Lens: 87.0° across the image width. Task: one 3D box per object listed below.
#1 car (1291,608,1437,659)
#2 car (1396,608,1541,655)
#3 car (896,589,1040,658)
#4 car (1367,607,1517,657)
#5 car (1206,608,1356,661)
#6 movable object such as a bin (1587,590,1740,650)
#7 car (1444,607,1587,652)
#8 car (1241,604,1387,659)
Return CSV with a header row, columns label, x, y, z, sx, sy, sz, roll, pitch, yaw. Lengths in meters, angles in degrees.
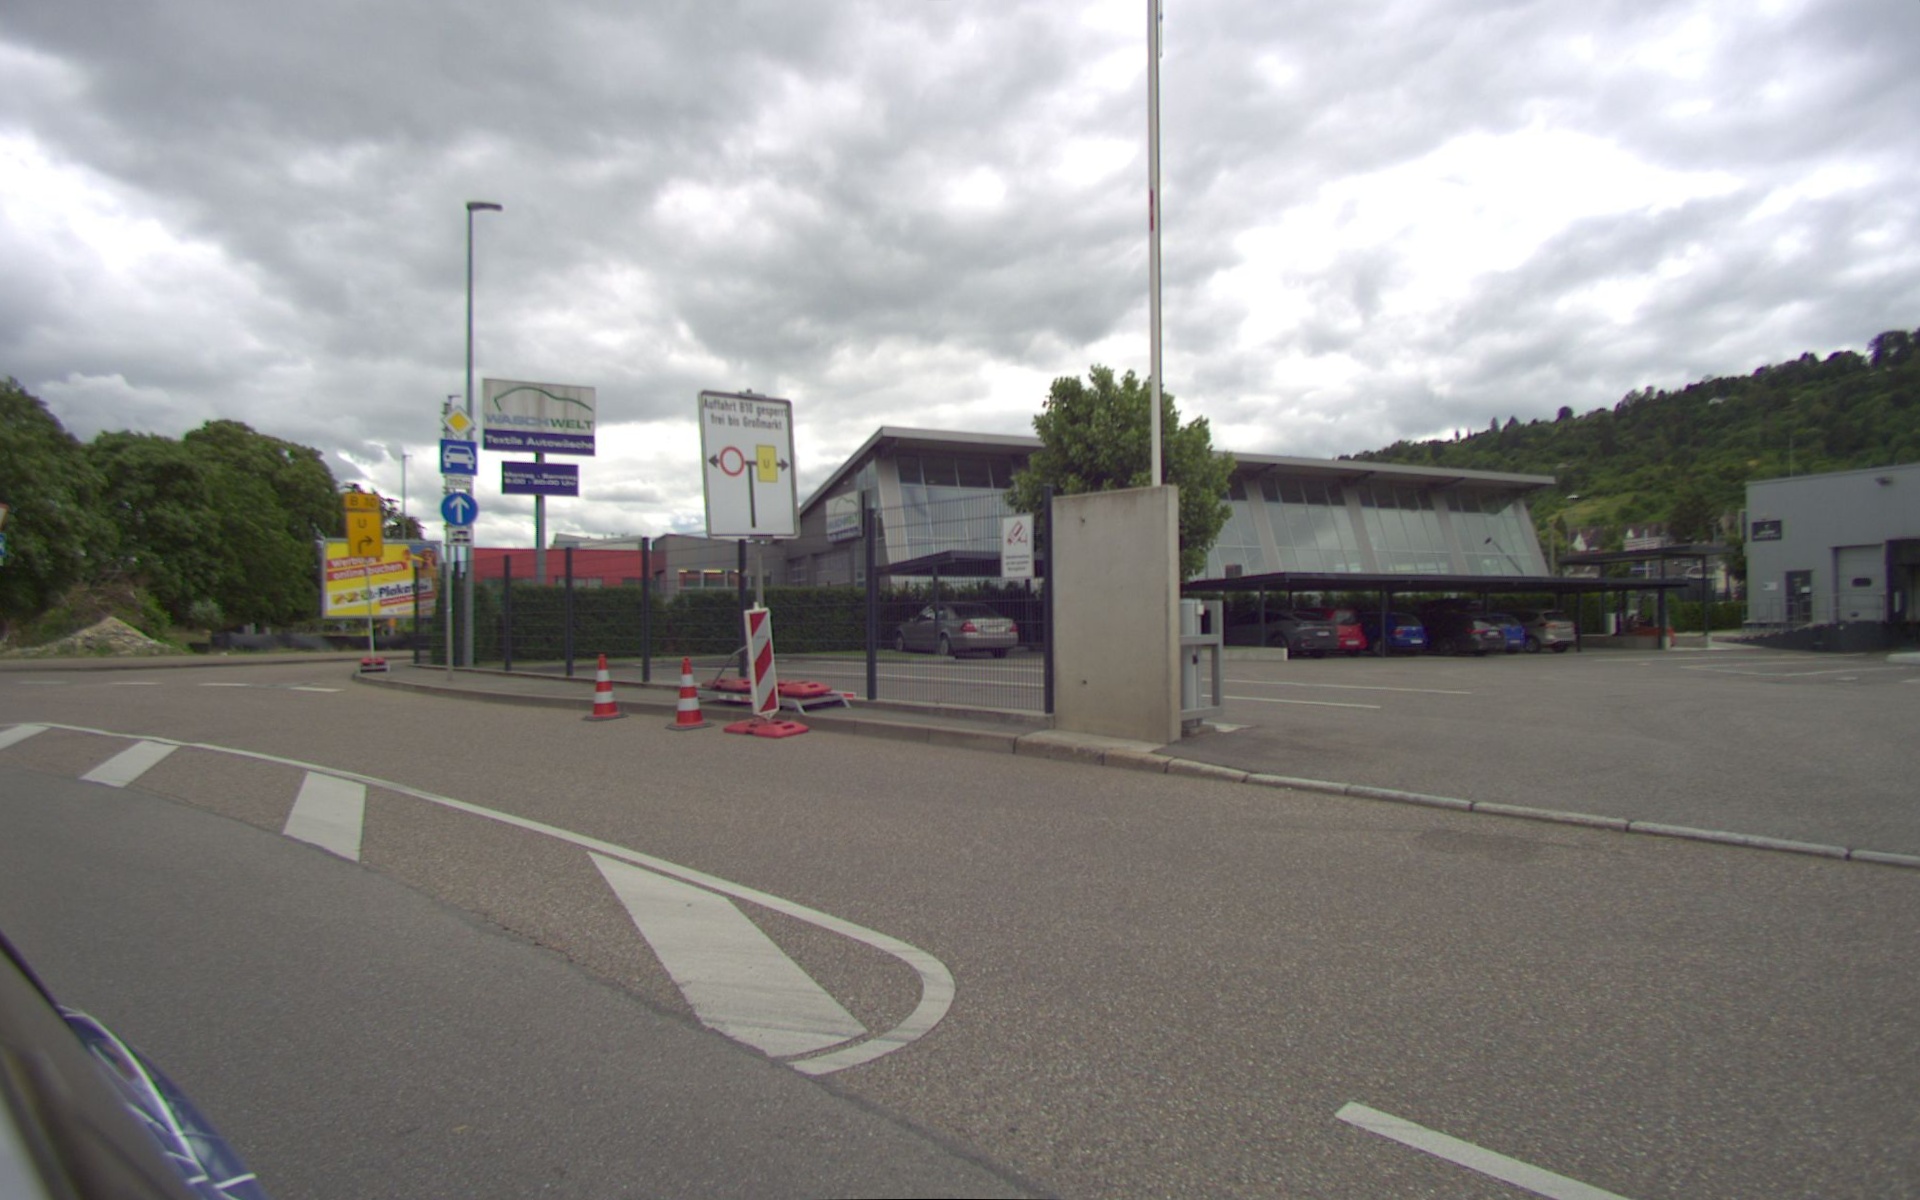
label,x,y,z,sx,sy,sz,roll,pitch,yaw
car,13.381,1.084,33.794,1.933,1.571,4.261,0,-1,-29
car,18.096,1.106,36.220,1.933,1.571,4.261,0,-1,-29
car,0.108,0.611,27.024,2.038,1.682,4.261,0,-1,-29
car,16.192,1.053,34.226,1.933,1.571,4.261,0,-1,-29
car,9.784,1.029,31.189,1.933,1.503,4.261,0,-1,-29
movable object such as a bin,28.092,0.805,40.583,2.045,2.243,4.615,0,-1,-29
car,20.381,1.065,37.320,1.933,1.571,4.261,0,-1,-29
car,11.372,0.982,32.801,1.933,1.660,4.261,0,-1,-29
